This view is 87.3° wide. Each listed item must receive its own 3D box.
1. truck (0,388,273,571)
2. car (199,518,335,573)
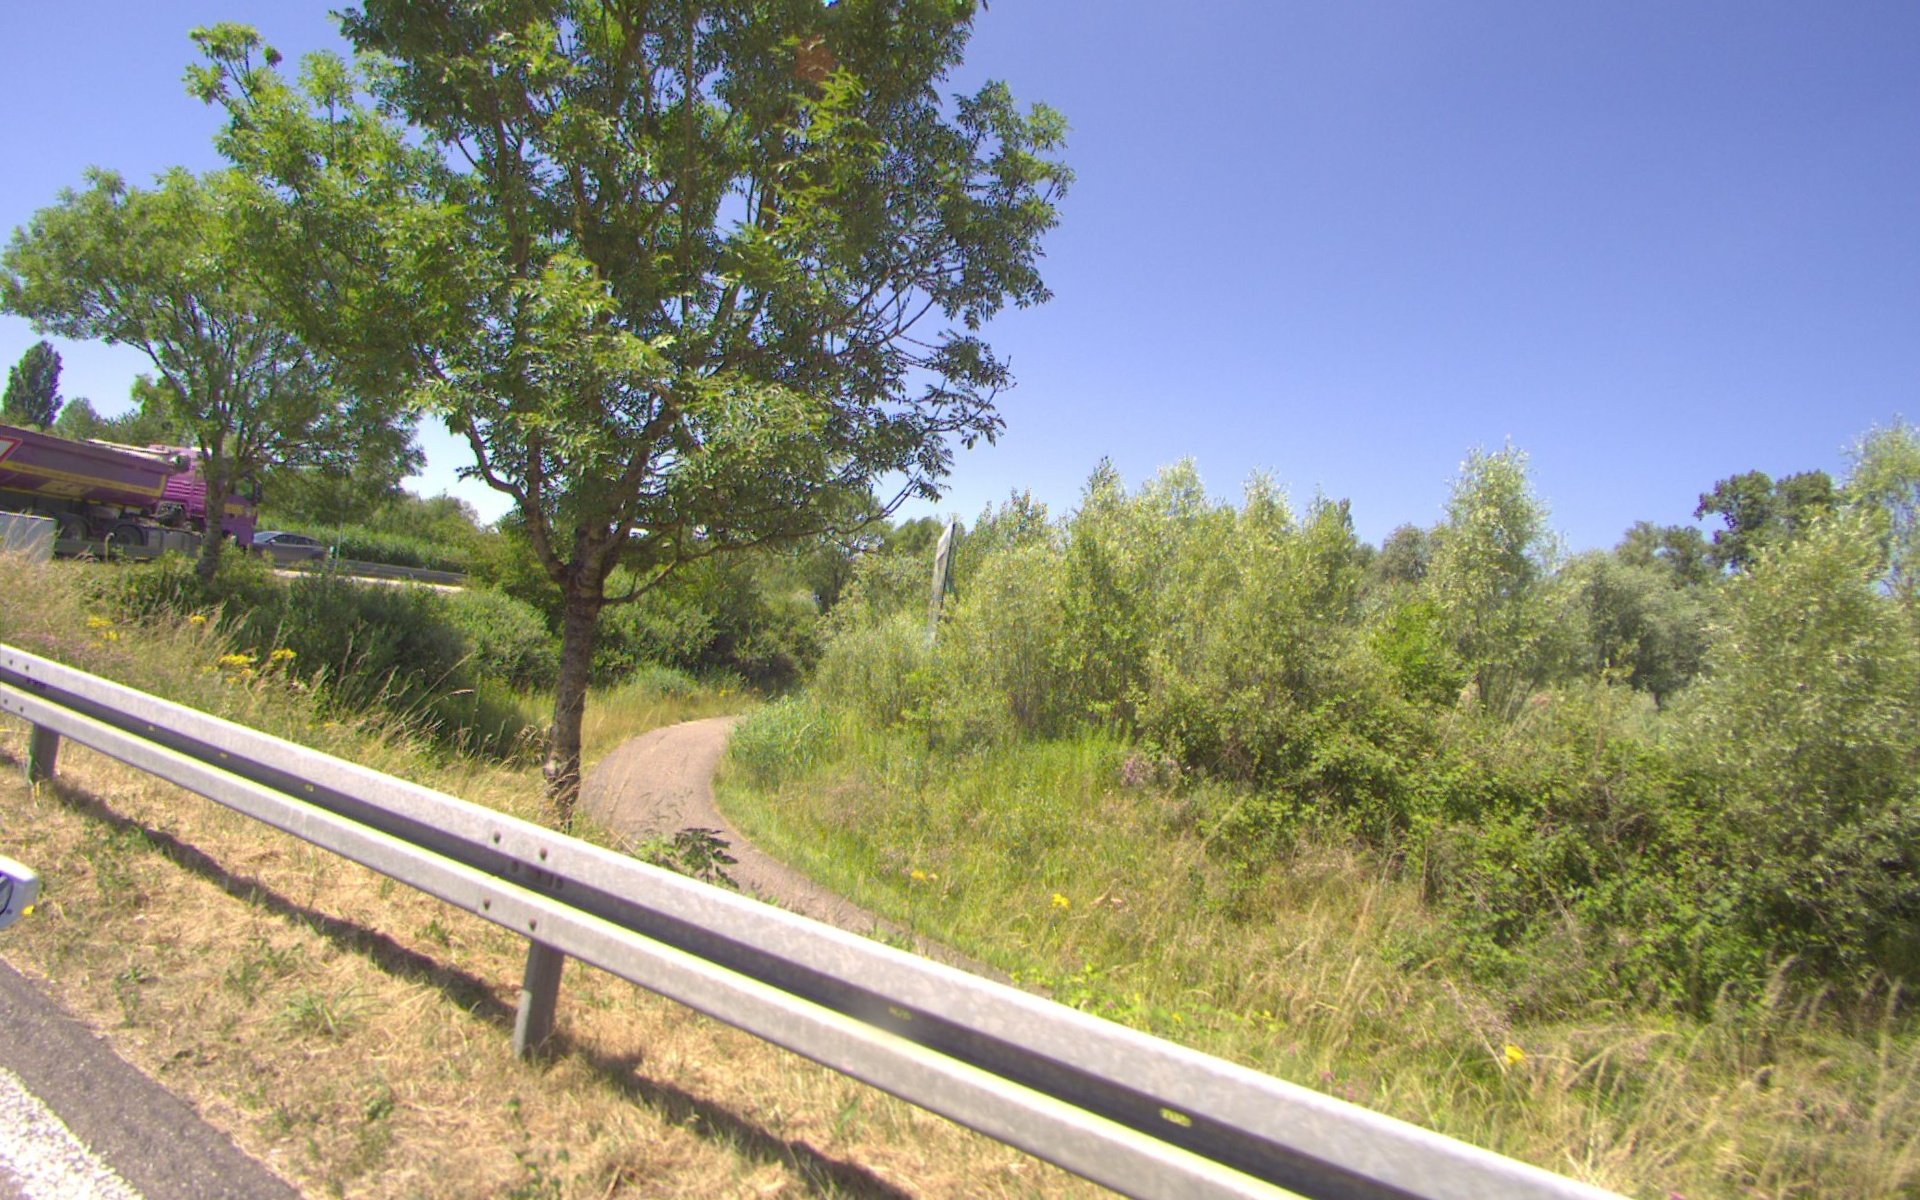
[{"bbox_3d":[-24.499,-3.146,28.392,2.793,3.867,11.876,7,-1,-6],"label":"truck"},{"bbox_3d":[-28.972,-2.256,42.197,1.898,1.651,4.238,7,-1,23],"label":"car"}]
